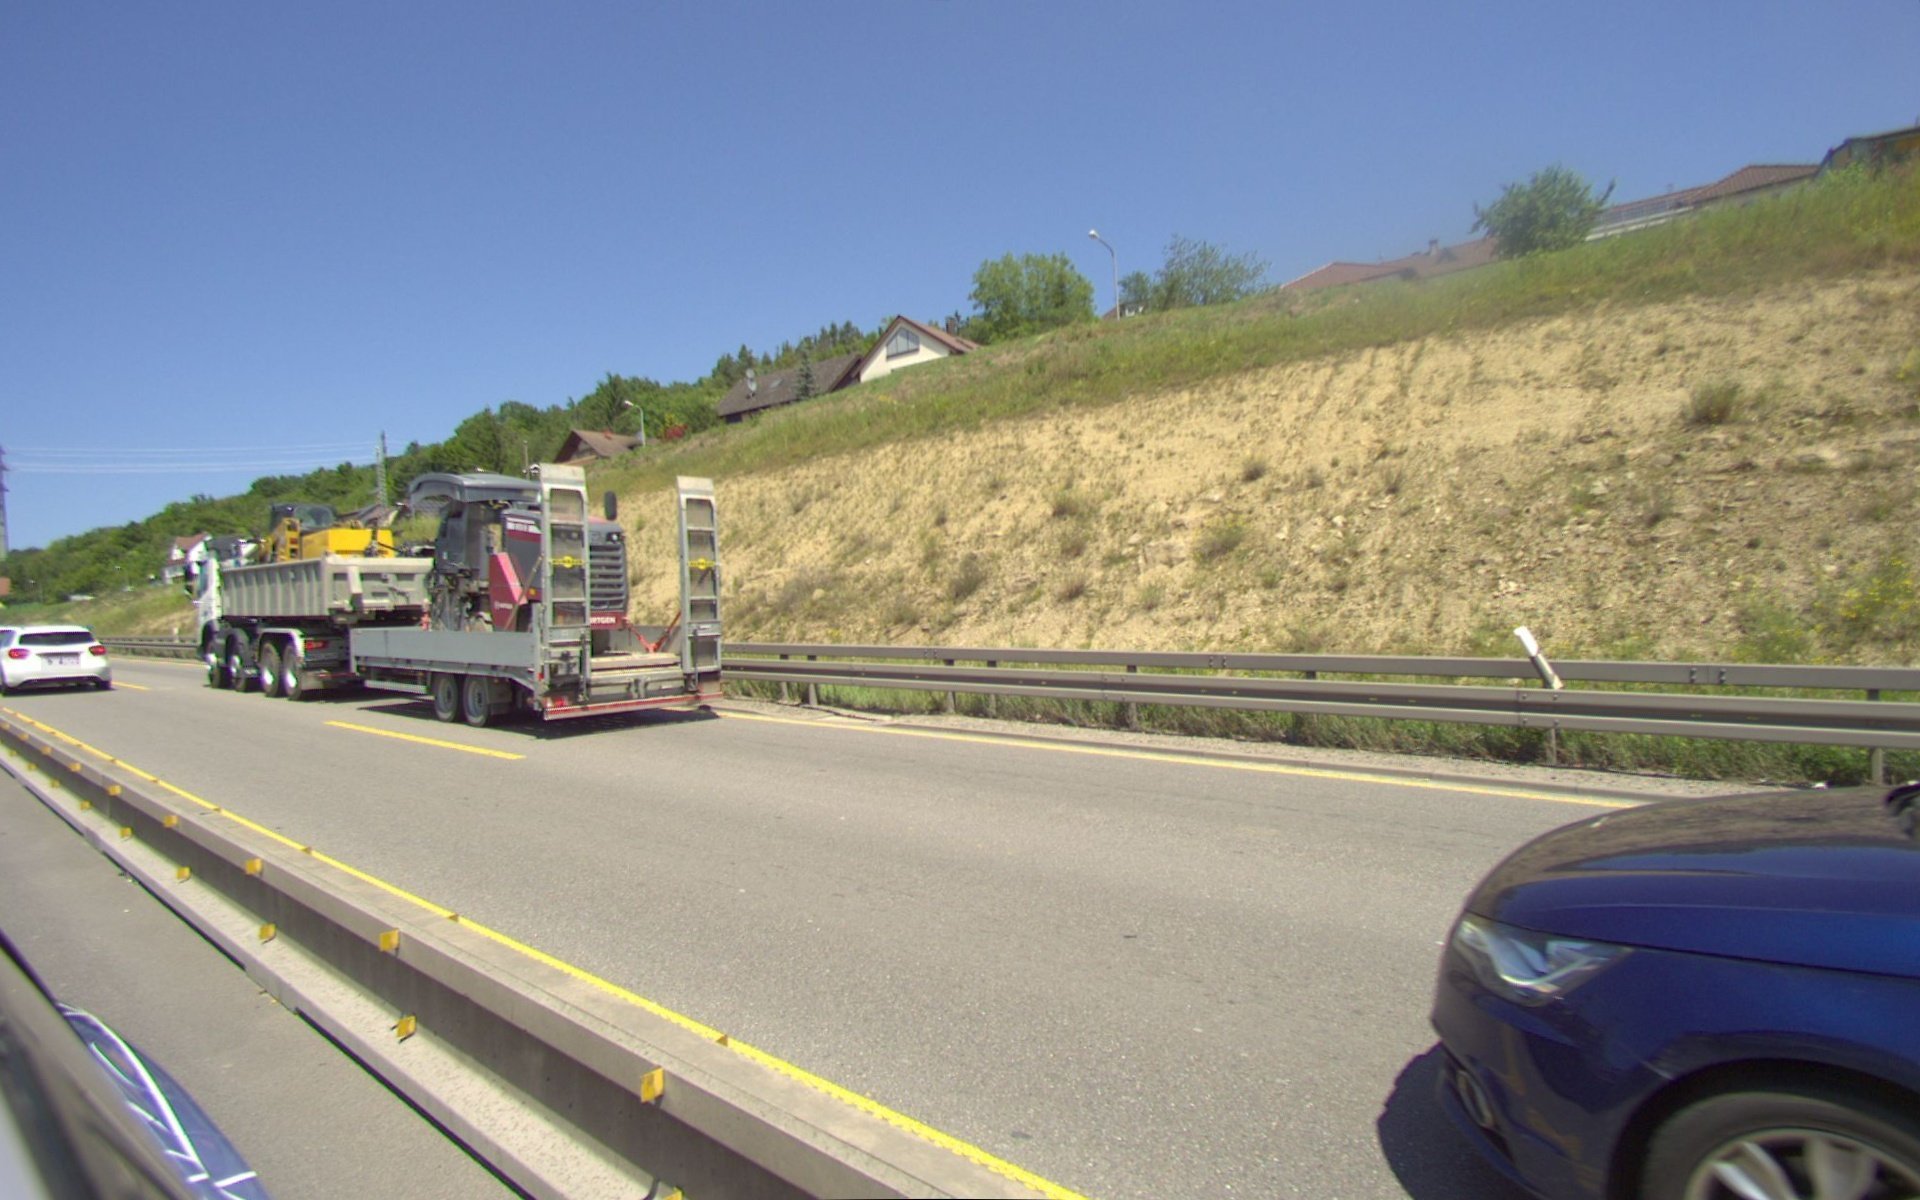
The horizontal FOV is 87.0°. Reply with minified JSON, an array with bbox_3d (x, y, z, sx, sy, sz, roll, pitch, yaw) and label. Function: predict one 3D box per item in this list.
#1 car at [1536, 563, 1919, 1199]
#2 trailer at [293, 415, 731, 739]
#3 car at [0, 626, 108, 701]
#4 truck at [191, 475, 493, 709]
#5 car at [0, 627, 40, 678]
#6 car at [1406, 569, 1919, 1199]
[{"bbox_3d":[3.077,0.616,1.425,3.684,1.413,1.672,-2,-1,40],"label":"car"},{"bbox_3d":[-7.280,-0.160,15.414,9.075,3.664,2.560,-2,-1,42],"label":"trailer"},{"bbox_3d":[-20.153,1.331,22.141,4.119,1.441,1.667,-2,-1,41],"label":"car"},{"bbox_3d":[-12.723,-0.030,20.292,9.329,3.751,2.560,-2,-1,42],"label":"truck"},{"bbox_3d":[-28.939,1.568,30.294,3.290,1.441,1.667,-2,-1,41],"label":"car"},{"bbox_3d":[2.946,0.639,1.505,3.847,1.441,1.667,-2,-1,41],"label":"car"}]
